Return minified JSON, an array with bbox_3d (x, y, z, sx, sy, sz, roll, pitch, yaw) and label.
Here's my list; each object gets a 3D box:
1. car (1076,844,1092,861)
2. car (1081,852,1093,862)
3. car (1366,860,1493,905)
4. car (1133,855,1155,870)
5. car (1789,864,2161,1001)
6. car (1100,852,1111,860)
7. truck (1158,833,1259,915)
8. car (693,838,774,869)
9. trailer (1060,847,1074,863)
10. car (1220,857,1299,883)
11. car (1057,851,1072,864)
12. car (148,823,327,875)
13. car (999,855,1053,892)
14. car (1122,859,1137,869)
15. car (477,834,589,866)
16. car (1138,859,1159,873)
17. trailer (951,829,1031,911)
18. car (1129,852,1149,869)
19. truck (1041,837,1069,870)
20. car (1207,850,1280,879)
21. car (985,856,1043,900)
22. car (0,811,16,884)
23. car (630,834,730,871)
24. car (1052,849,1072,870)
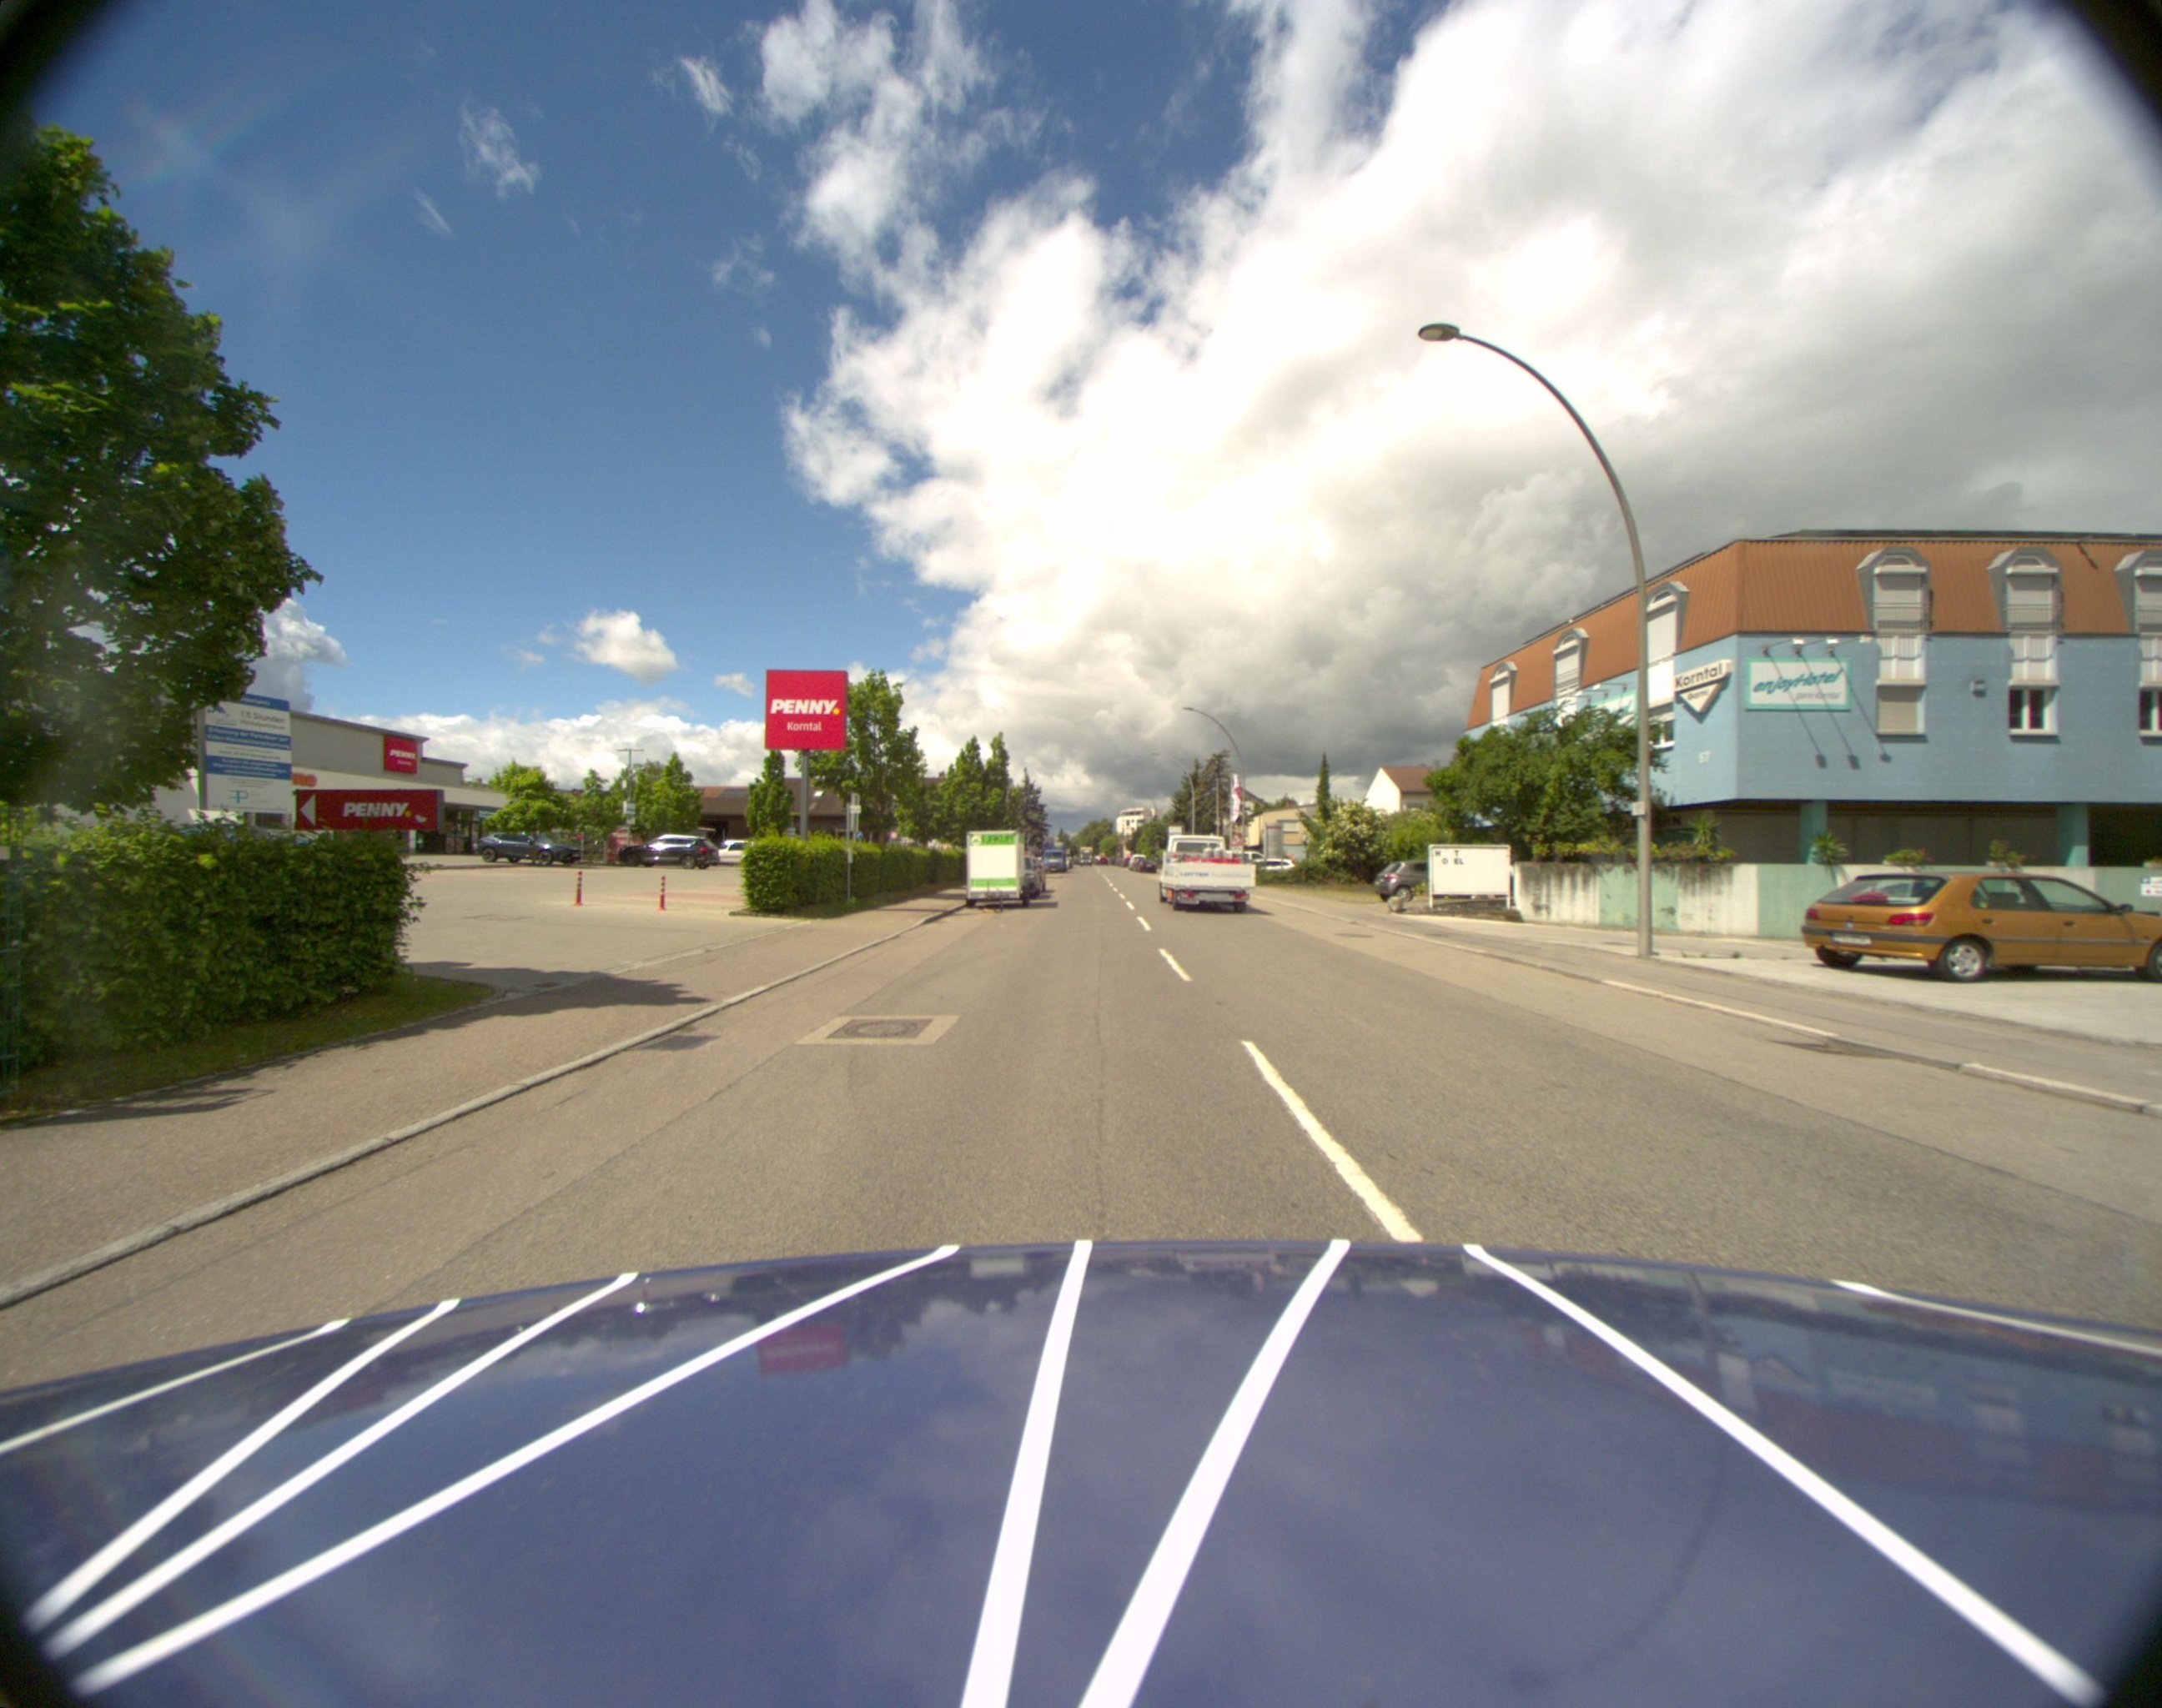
[{"bbox_3d":[0.617,-0.300,167.496,3.263,3.595,10.270,-1,-1,-1],"label":"car"},{"bbox_3d":[1.013,0.501,126.686,1.891,1.708,4.000,1,0,0],"label":"car"},{"bbox_3d":[12.293,0.969,27.003,3.636,1.524,1.980,0,0,3],"label":"car"},{"bbox_3d":[6.743,0.864,81.651,1.748,1.463,4.644,3,0,-1],"label":"car"},{"bbox_3d":[12.317,0.953,10.117,4.161,1.483,1.825,-2,0,-3],"label":"car"},{"bbox_3d":[4.739,0.374,148.169,1.999,1.606,4.411,1,0,0],"label":"car"},{"bbox_3d":[3.761,0.549,23.773,2.324,2.166,6.450,1,0,3],"label":"truck"},{"bbox_3d":[-21.180,-0.039,46.460,3.997,1.696,2.000,-2,0,-1],"label":"car"},{"bbox_3d":[-1.936,0.124,104.655,1.777,2.132,4.114,1,0,0],"label":"trailer"},{"bbox_3d":[10.861,0.950,46.466,4.385,1.470,1.871,0,1,1],"label":"car"},{"bbox_3d":[-1.998,0.418,92.852,1.777,1.499,4.000,1,0,0],"label":"car"},{"bbox_3d":[-33.633,-0.193,30.464,1.996,1.892,4.310,-2,0,21],"label":"car"},{"bbox_3d":[-2.480,0.864,35.116,1.946,1.562,4.446,1,0,3],"label":"car"},{"bbox_3d":[6.986,1.416,108.937,1.724,1.484,4.735,1,0,-1],"label":"car"},{"bbox_3d":[-26.674,-0.180,37.089,3.997,1.346,2.000,-2,0,0],"label":"car"},{"bbox_3d":[6.784,1.201,76.675,1.635,1.296,4.116,3,0,-2],"label":"car"},{"bbox_3d":[-2.664,0.446,23.364,1.946,2.281,4.445,1,0,-1],"label":"trailer"},{"bbox_3d":[6.596,0.715,87.051,1.748,1.827,4.355,3,0,-1],"label":"car"},{"bbox_3d":[-2.495,-0.045,74.773,2.326,3.079,6.043,-2,0,1],"label":"truck"},{"bbox_3d":[11.507,0.754,54.049,4.664,1.960,2.115,0,0,-3],"label":"car"},{"bbox_3d":[-2.498,0.886,29.476,1.947,1.562,4.445,1,0,-1],"label":"car"},{"bbox_3d":[-26.802,-0.093,16.739,3.996,1.674,2.001,-2,0,3],"label":"car"},{"bbox_3d":[-20.465,-0.080,38.900,3.997,1.696,2.000,-2,0,-1],"label":"car"},{"bbox_3d":[-2.042,0.557,81.206,1.878,2.156,4.464,-2,0,1],"label":"car"}]
